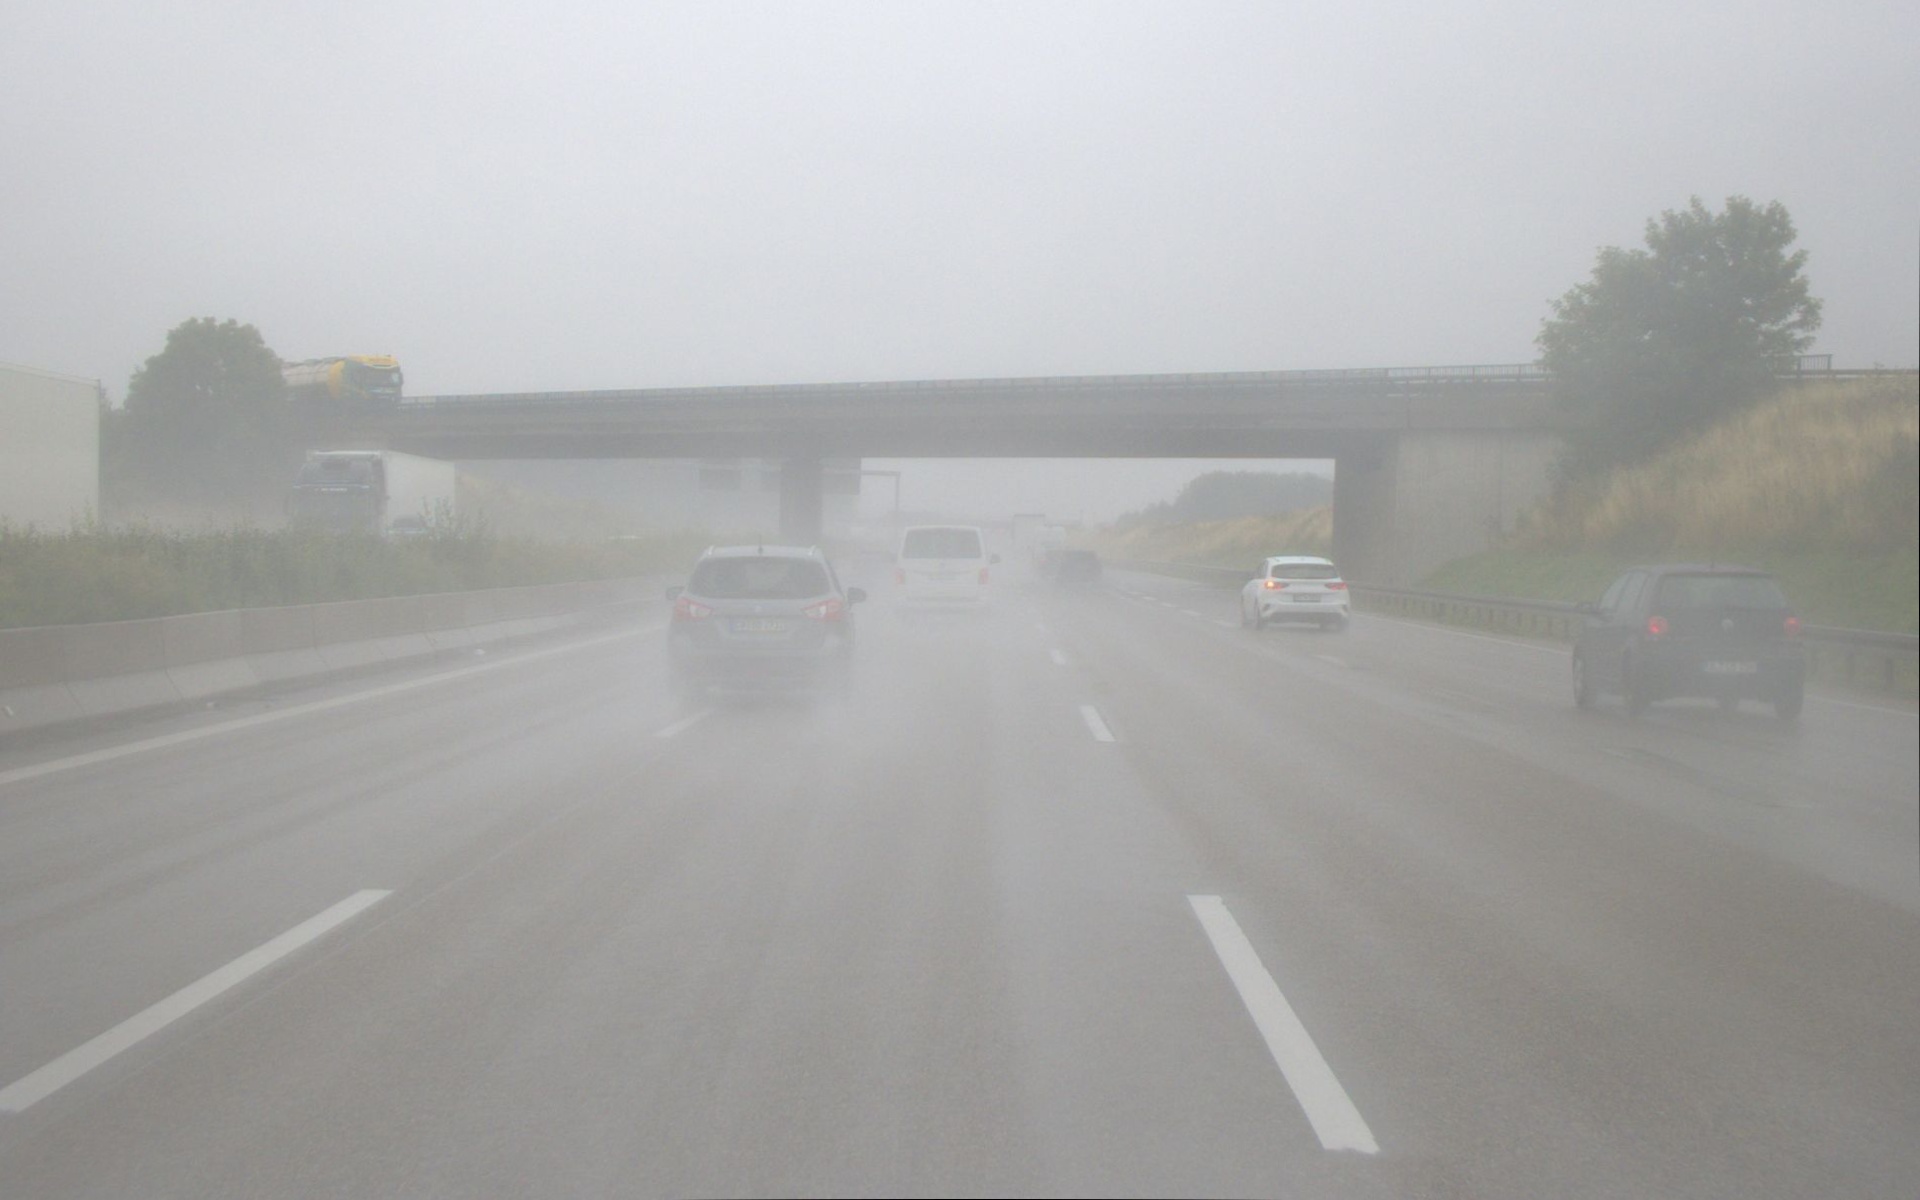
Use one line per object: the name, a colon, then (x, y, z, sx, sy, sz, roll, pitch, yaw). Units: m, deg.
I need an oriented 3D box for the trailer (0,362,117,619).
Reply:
trailer: (-15.783, -1.676, 51.947, 2.818, 3.839, 12.406, 1, 1, 1)

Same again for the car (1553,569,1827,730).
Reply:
car: (6.981, 0.437, 33.223, 1.731, 1.416, 3.658, 1, 1, -2)

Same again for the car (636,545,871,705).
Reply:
car: (-2.021, 0.207, 34.957, 1.846, 1.508, 4.756, 0, 1, 3)

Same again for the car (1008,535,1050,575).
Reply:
car: (3.677, -2.444, 184.876, 1.993, 2.094, 4.000, 1, 1, -2)

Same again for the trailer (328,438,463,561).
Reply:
trailer: (-18.576, -3.242, 114.032, 1.993, 3.752, 13.860, 2, 1, 0)

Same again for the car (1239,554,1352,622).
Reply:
car: (6.572, -0.240, 67.693, 1.994, 1.262, 4.000, 1, 0, 3)

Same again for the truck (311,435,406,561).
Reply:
truck: (-18.596, -3.127, 106.497, 1.993, 3.768, 4.813, 1, 1, 1)

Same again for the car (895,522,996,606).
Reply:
car: (-0.261, -0.702, 67.793, 1.897, 1.580, 4.000, 1, 0, 1)
